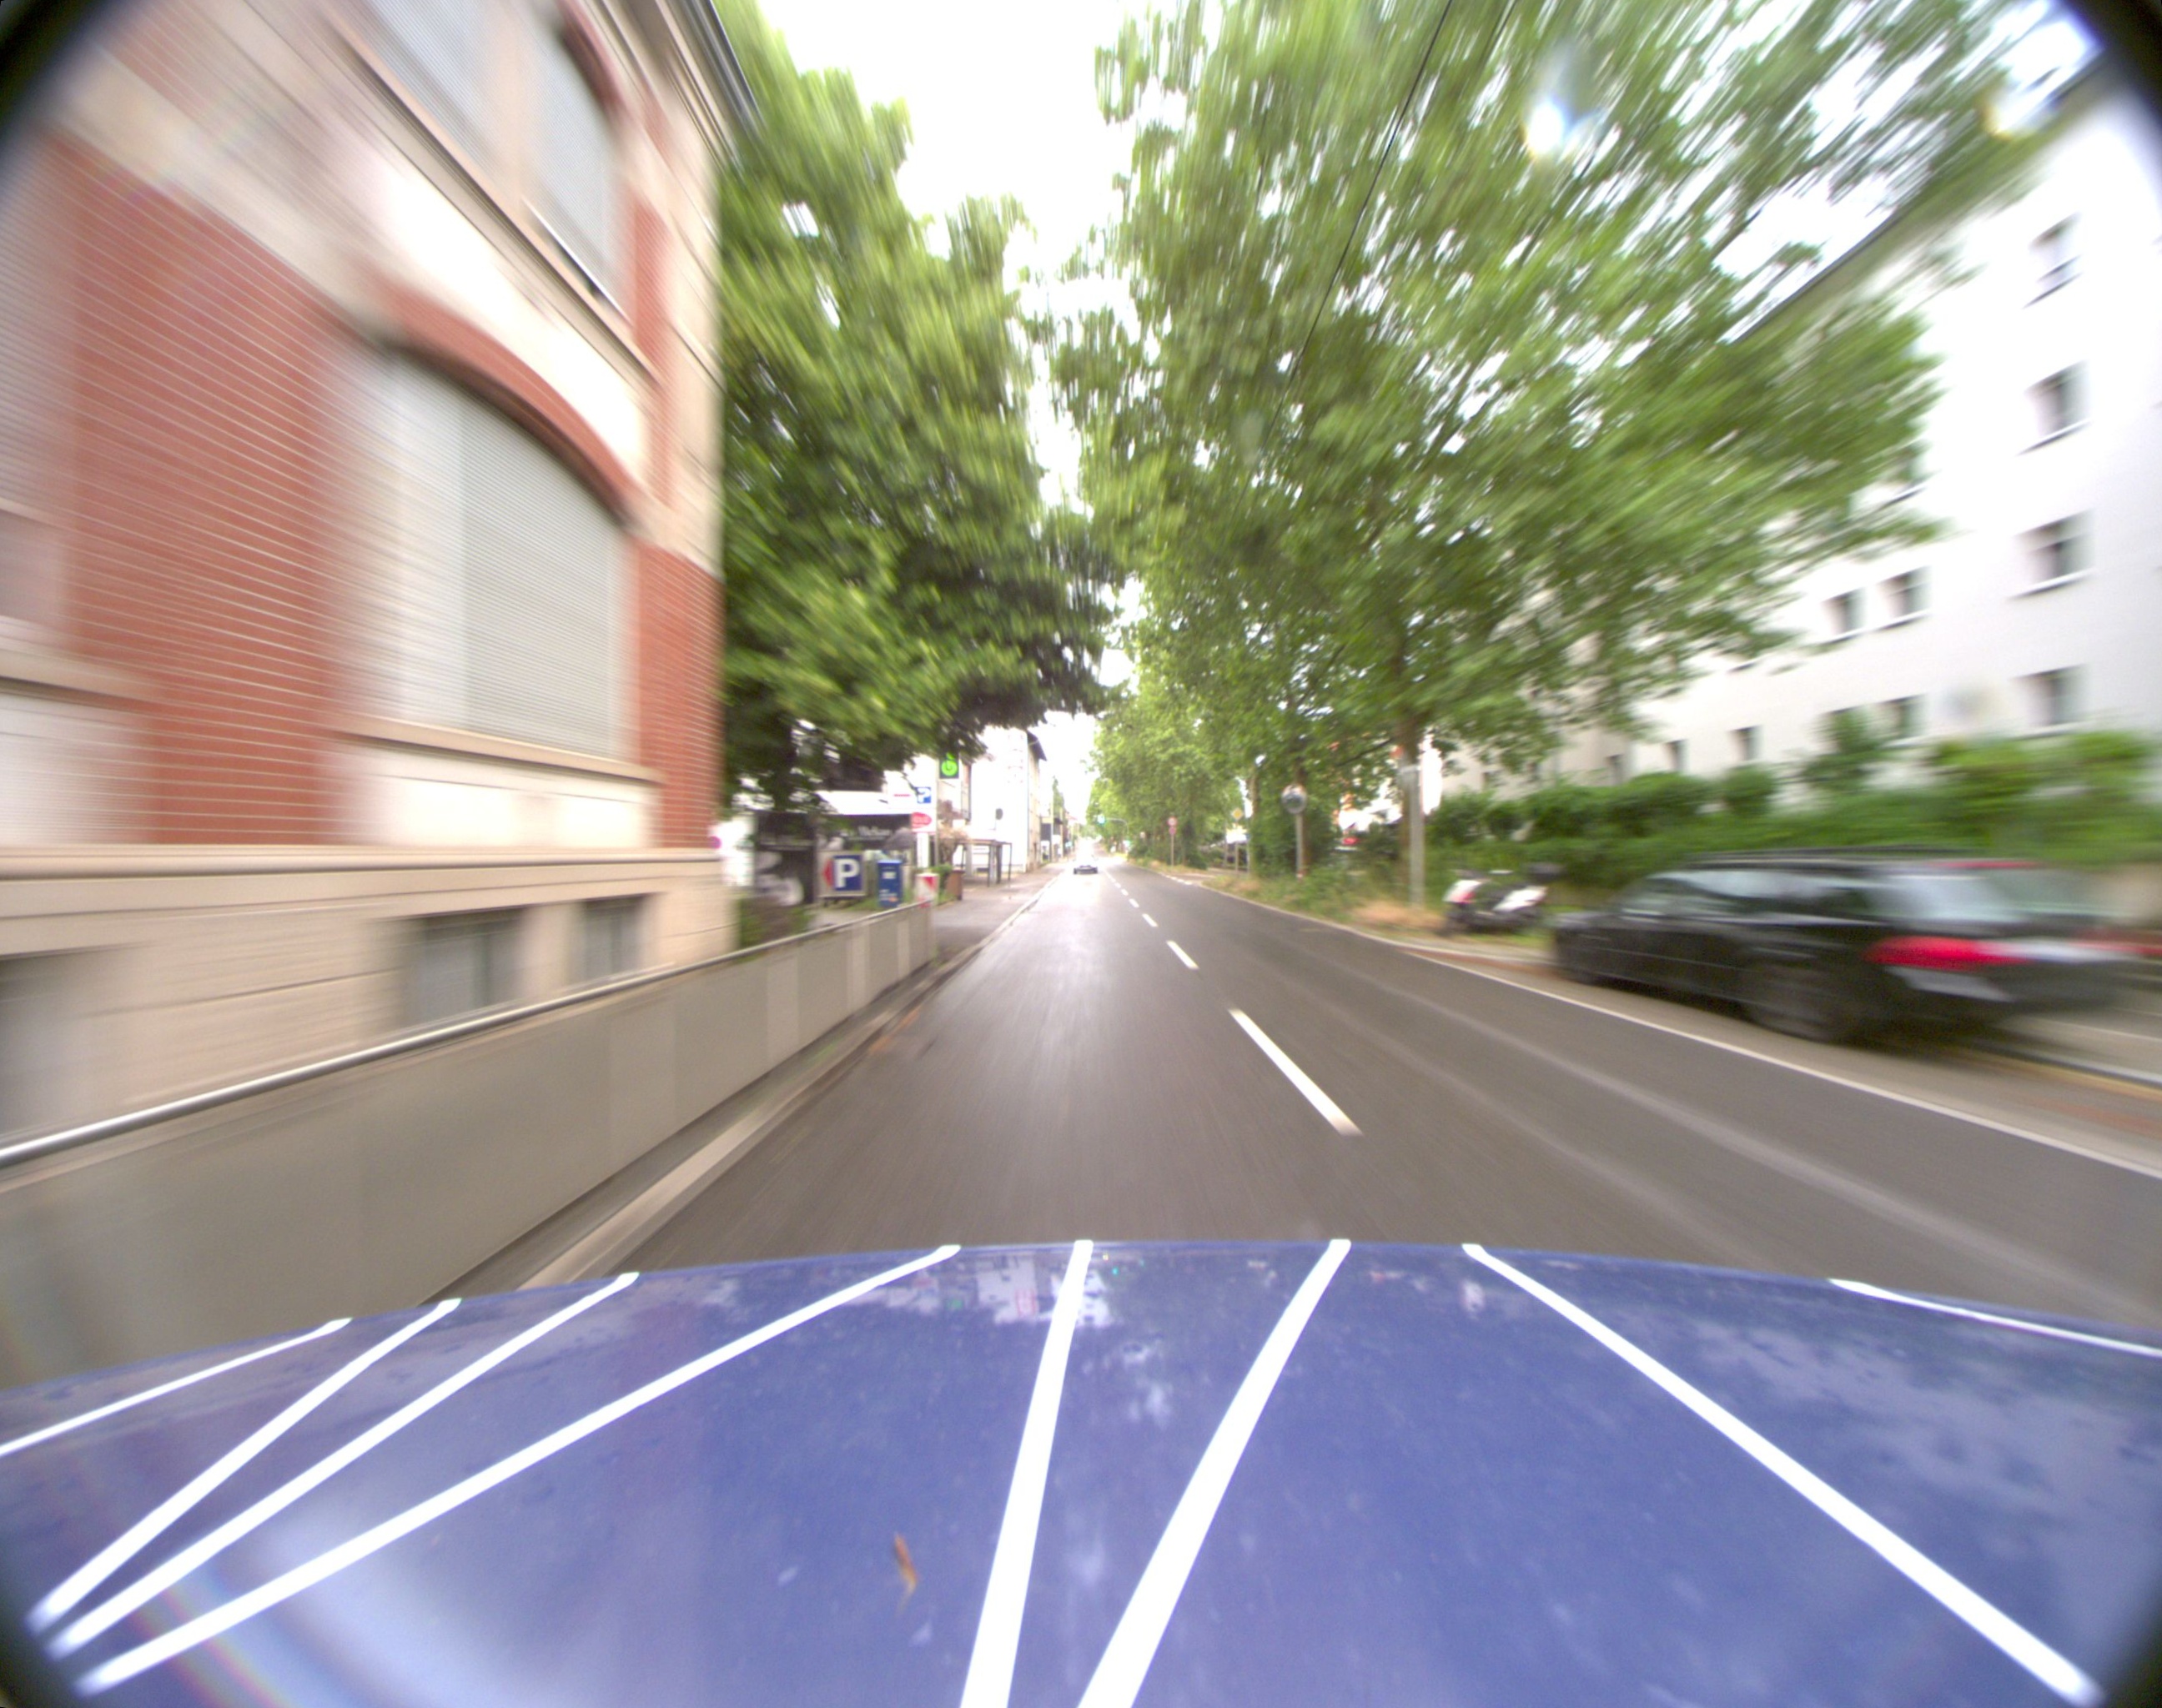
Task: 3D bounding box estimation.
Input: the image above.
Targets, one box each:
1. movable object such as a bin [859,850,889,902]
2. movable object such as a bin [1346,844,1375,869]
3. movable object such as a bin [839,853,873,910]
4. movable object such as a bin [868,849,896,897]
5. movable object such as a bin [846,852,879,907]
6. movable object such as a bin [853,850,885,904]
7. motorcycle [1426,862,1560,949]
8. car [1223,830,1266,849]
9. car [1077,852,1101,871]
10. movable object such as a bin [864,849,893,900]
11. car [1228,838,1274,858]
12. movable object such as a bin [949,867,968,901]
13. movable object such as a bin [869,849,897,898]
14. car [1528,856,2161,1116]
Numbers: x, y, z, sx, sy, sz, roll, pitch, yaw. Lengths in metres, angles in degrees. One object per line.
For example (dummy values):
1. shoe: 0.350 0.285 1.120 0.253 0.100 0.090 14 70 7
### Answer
1. movable object such as a bin: -6.049 0.624 22.217 0.739 1.499 0.625 0 1 -2
2. movable object such as a bin: 17.477 0.135 47.556 1.164 1.455 1.300 -6 1 0
3. movable object such as a bin: -5.978 0.712 20.207 0.739 1.492 0.625 0 1 -2
4. movable object such as a bin: -6.335 0.596 24.179 0.739 1.499 0.625 0 1 -2
5. movable object such as a bin: -6.008 0.699 20.932 0.739 1.499 0.625 0 1 -2
6. movable object such as a bin: -6.024 0.651 21.607 0.739 1.499 0.625 0 1 -2
7. motorcycle: 6.512 0.798 12.066 1.717 1.332 0.722 0 1 1
8. car: 16.371 -1.467 76.091 3.802 1.679 1.738 -3 1 -2
9. car: 0.574 0.568 57.200 1.692 1.334 3.999 0 1 -2
10. movable object such as a bin: -6.087 0.605 22.883 0.739 1.499 0.625 0 1 -2
11. car: 16.347 -0.539 73.256 3.997 1.784 1.959 -1 0 1
12. movable object such as a bin: -4.044 0.982 25.114 0.506 1.109 0.618 0 1 1
13. movable object such as a bin: -6.123 0.597 23.542 0.739 1.499 0.625 0 1 -2
14. car: 6.433 0.802 6.996 1.721 1.500 4.803 -1 0 -1
